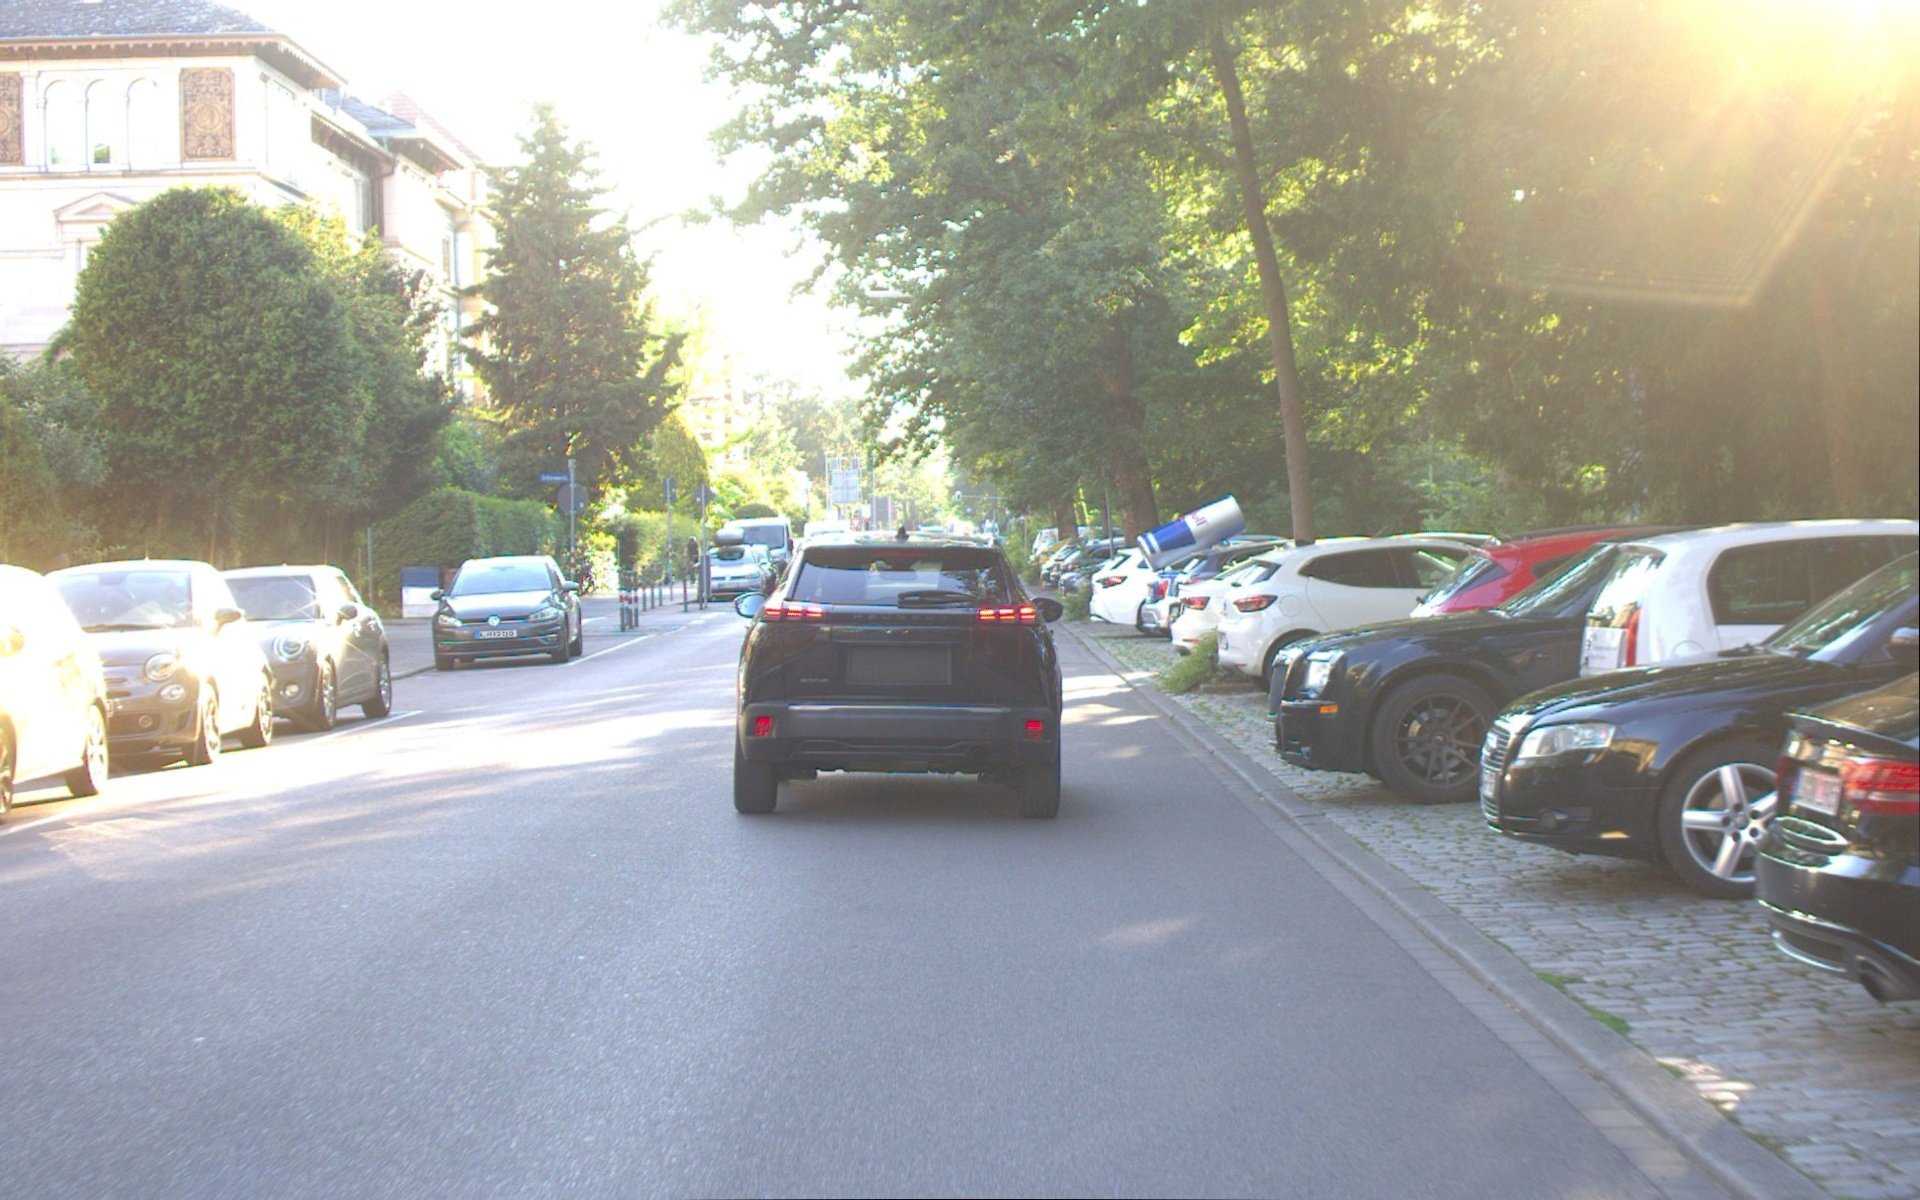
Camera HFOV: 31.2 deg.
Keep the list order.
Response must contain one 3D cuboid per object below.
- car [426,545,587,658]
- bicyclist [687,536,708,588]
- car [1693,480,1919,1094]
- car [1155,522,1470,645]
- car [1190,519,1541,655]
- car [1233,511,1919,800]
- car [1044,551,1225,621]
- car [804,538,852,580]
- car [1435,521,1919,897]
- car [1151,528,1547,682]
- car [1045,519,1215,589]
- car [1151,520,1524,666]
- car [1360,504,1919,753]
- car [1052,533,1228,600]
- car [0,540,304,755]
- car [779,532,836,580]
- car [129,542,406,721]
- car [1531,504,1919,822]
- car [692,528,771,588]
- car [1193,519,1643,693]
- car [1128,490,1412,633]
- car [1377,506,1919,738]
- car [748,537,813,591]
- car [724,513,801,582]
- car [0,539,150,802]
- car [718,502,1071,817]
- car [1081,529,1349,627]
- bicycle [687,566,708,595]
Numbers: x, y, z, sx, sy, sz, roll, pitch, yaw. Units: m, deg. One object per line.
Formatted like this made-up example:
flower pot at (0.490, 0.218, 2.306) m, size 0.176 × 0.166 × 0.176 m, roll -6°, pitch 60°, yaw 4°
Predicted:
car at (-6.146, -0.015, 46.950) m, size 1.752 × 1.409 × 3.765 m, roll -2°, pitch 1°, yaw -2°
bicyclist at (-9.087, -1.314, 119.140) m, size 0.693 × 1.786 × 0.773 m, roll 0°, pitch 0°, yaw -3°
car at (4.247, 0.389, 9.574) m, size 3.987 × 1.549 × 1.725 m, roll -2°, pitch 0°, yaw 0°
car at (4.741, -0.230, 46.544) m, size 3.986 × 1.619 × 1.758 m, roll 0°, pitch 0°, yaw -5°
car at (4.917, -0.169, 41.983) m, size 3.986 × 1.619 × 1.758 m, roll 0°, pitch 0°, yaw -5°
car at (3.809, 0.278, 19.648) m, size 4.242 × 1.444 × 2.021 m, roll -2°, pitch 0°, yaw -2°
car at (3.867, -0.319, 76.618) m, size 3.987 × 1.520 × 1.758 m, roll 0°, pitch 1°, yaw 1°
car at (-5.888, -1.829, 153.632) m, size 1.993 × 1.809 × 4.000 m, roll 0°, pitch 1°, yaw 0°
car at (4.184, 0.387, 14.478) m, size 4.157 × 1.444 × 1.730 m, roll -2°, pitch 0°, yaw 3°
car at (4.165, 0.041, 37.166) m, size 3.986 × 1.619 × 1.758 m, roll 0°, pitch 0°, yaw -5°
car at (4.008, -1.090, 81.609) m, size 3.987 × 1.618 × 1.758 m, roll 0°, pitch 0°, yaw 1°
car at (4.291, -0.093, 39.436) m, size 3.986 × 1.619 × 1.758 m, roll 0°, pitch 0°, yaw -5°
car at (4.691, 0.160, 22.442) m, size 3.807 × 1.444 × 1.877 m, roll -2°, pitch 0°, yaw -4°
car at (4.132, -0.774, 79.370) m, size 3.987 × 1.520 × 1.758 m, roll 0°, pitch 1°, yaw 1°
car at (-6.139, 0.312, 25.788) m, size 1.613 × 1.461 × 4.036 m, roll -1°, pitch 0°, yaw 0°
car at (-5.782, -1.669, 130.548) m, size 1.993 × 1.809 × 4.000 m, roll 0°, pitch 1°, yaw 0°
car at (-6.091, 0.246, 30.647) m, size 1.613 × 1.461 × 4.036 m, roll -1°, pitch 0°, yaw 0°
car at (4.857, 0.251, 16.961) m, size 3.808 × 1.444 × 1.826 m, roll -2°, pitch 0°, yaw 3°
car at (-6.112, -1.127, 92.279) m, size 1.899 × 1.568 × 4.000 m, roll 0°, pitch 1°, yaw 0°
car at (4.197, 0.043, 31.893) m, size 3.807 × 1.444 × 1.826 m, roll -2°, pitch 0°, yaw -4°
car at (4.611, -0.579, 51.458) m, size 3.986 × 2.082 × 1.758 m, roll 0°, pitch 0°, yaw -5°
car at (5.106, 0.140, 24.948) m, size 3.807 × 1.505 × 1.826 m, roll -2°, pitch 0°, yaw -4°
car at (-5.980, -1.187, 114.767) m, size 1.993 × 1.762 × 4.000 m, roll 0°, pitch 1°, yaw -1°
car at (-5.881, -1.564, 102.890) m, size 1.993 × 2.007 × 4.000 m, roll 0°, pitch 1°, yaw 1°
car at (-6.127, 0.392, 20.453) m, size 1.613 × 1.461 × 4.036 m, roll -1°, pitch 0°, yaw 0°
car at (-0.429, 0.273, 19.797) m, size 1.771 × 1.563 × 4.109 m, roll 2°, pitch 1°, yaw -3°
car at (3.988, -0.353, 54.231) m, size 3.986 × 1.520 × 1.758 m, roll 0°, pitch 0°, yaw -5°
bicycle at (-9.093, -0.680, 119.177) m, size 0.691 × 1.012 × 2.049 m, roll 0°, pitch 1°, yaw -3°
